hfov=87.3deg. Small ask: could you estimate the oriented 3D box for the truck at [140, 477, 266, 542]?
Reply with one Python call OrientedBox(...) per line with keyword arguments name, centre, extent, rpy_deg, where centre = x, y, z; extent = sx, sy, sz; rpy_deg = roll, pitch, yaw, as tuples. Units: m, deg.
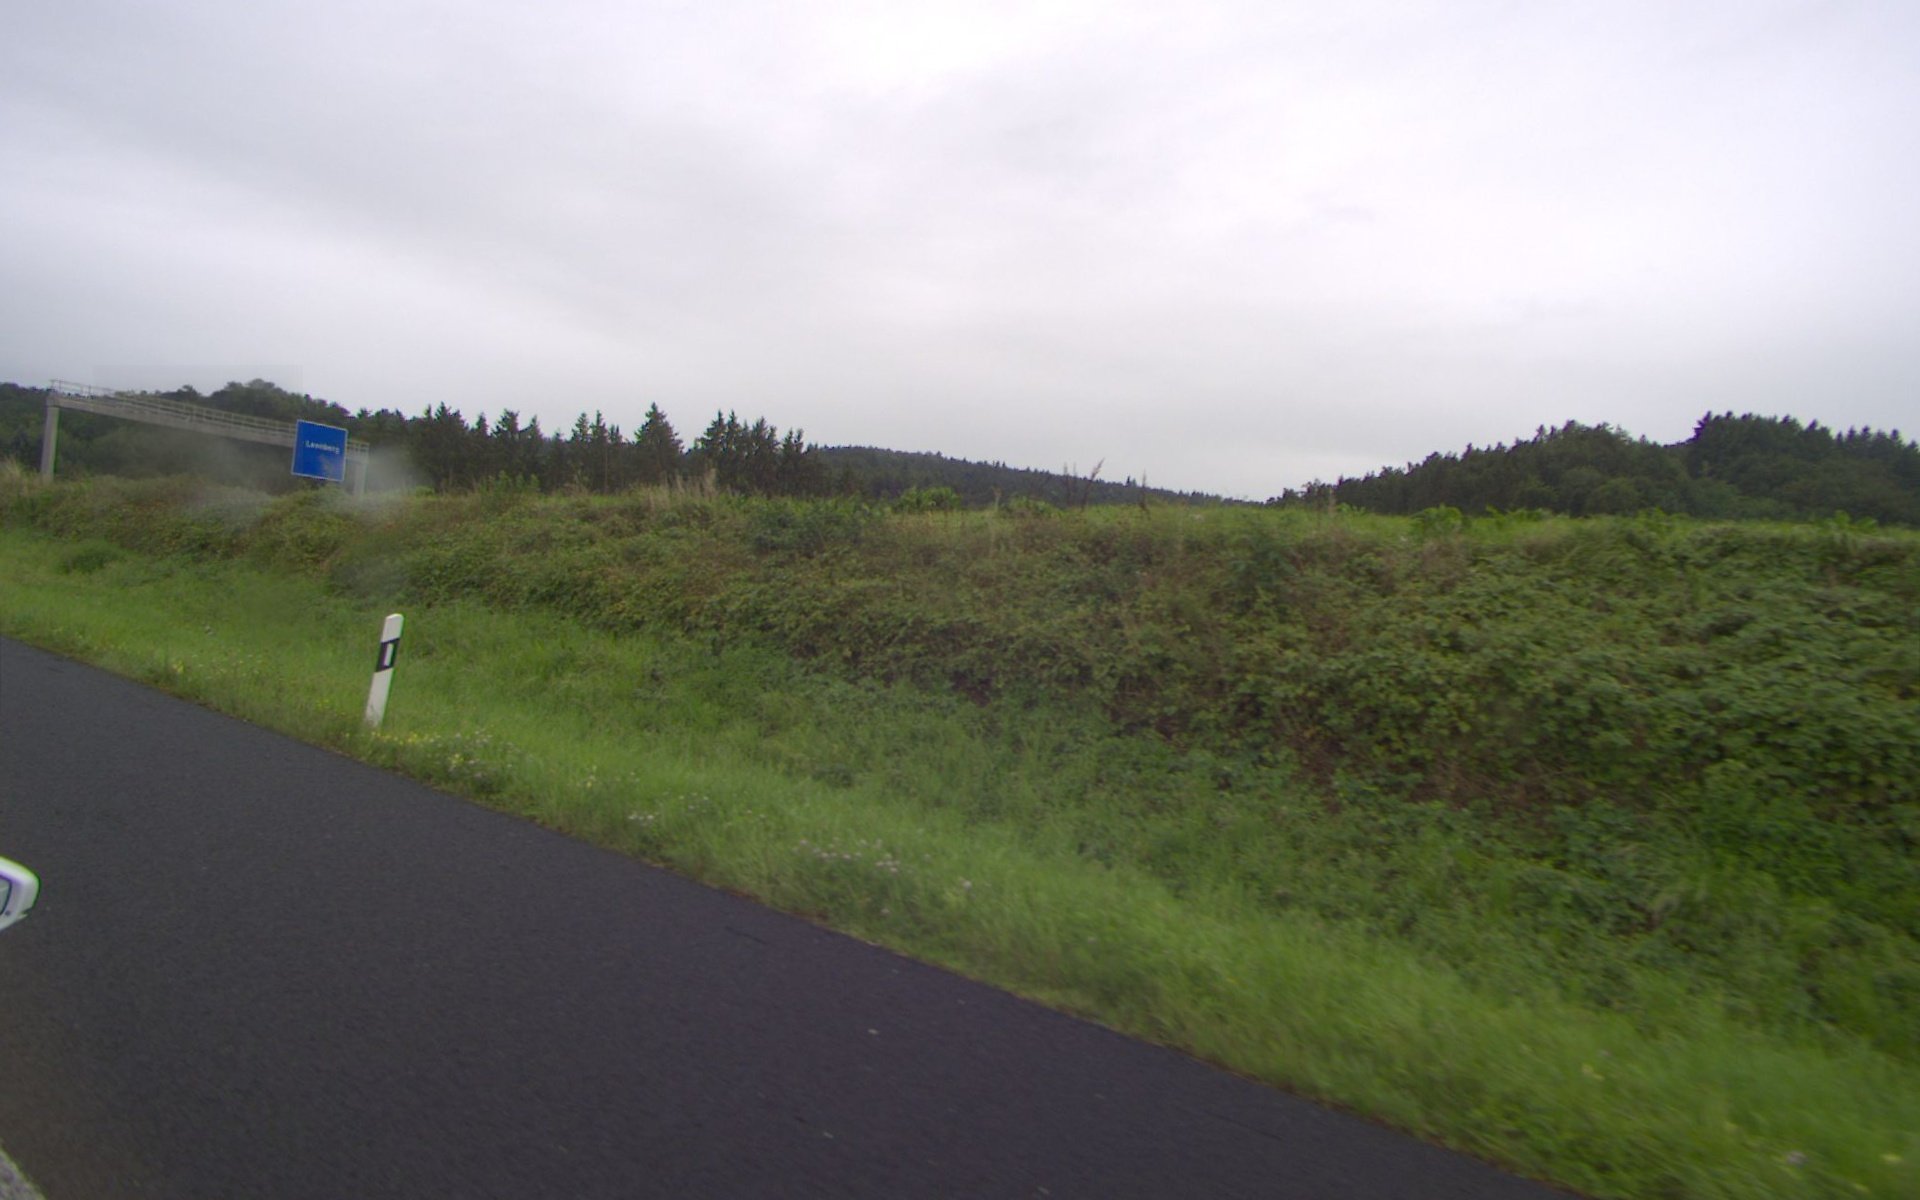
OrientedBox(name="truck", centre=(-57.348, -6.850, 76.229), extent=(8.121, 3.701, 3.839), rpy_deg=(7, -2, 23))
